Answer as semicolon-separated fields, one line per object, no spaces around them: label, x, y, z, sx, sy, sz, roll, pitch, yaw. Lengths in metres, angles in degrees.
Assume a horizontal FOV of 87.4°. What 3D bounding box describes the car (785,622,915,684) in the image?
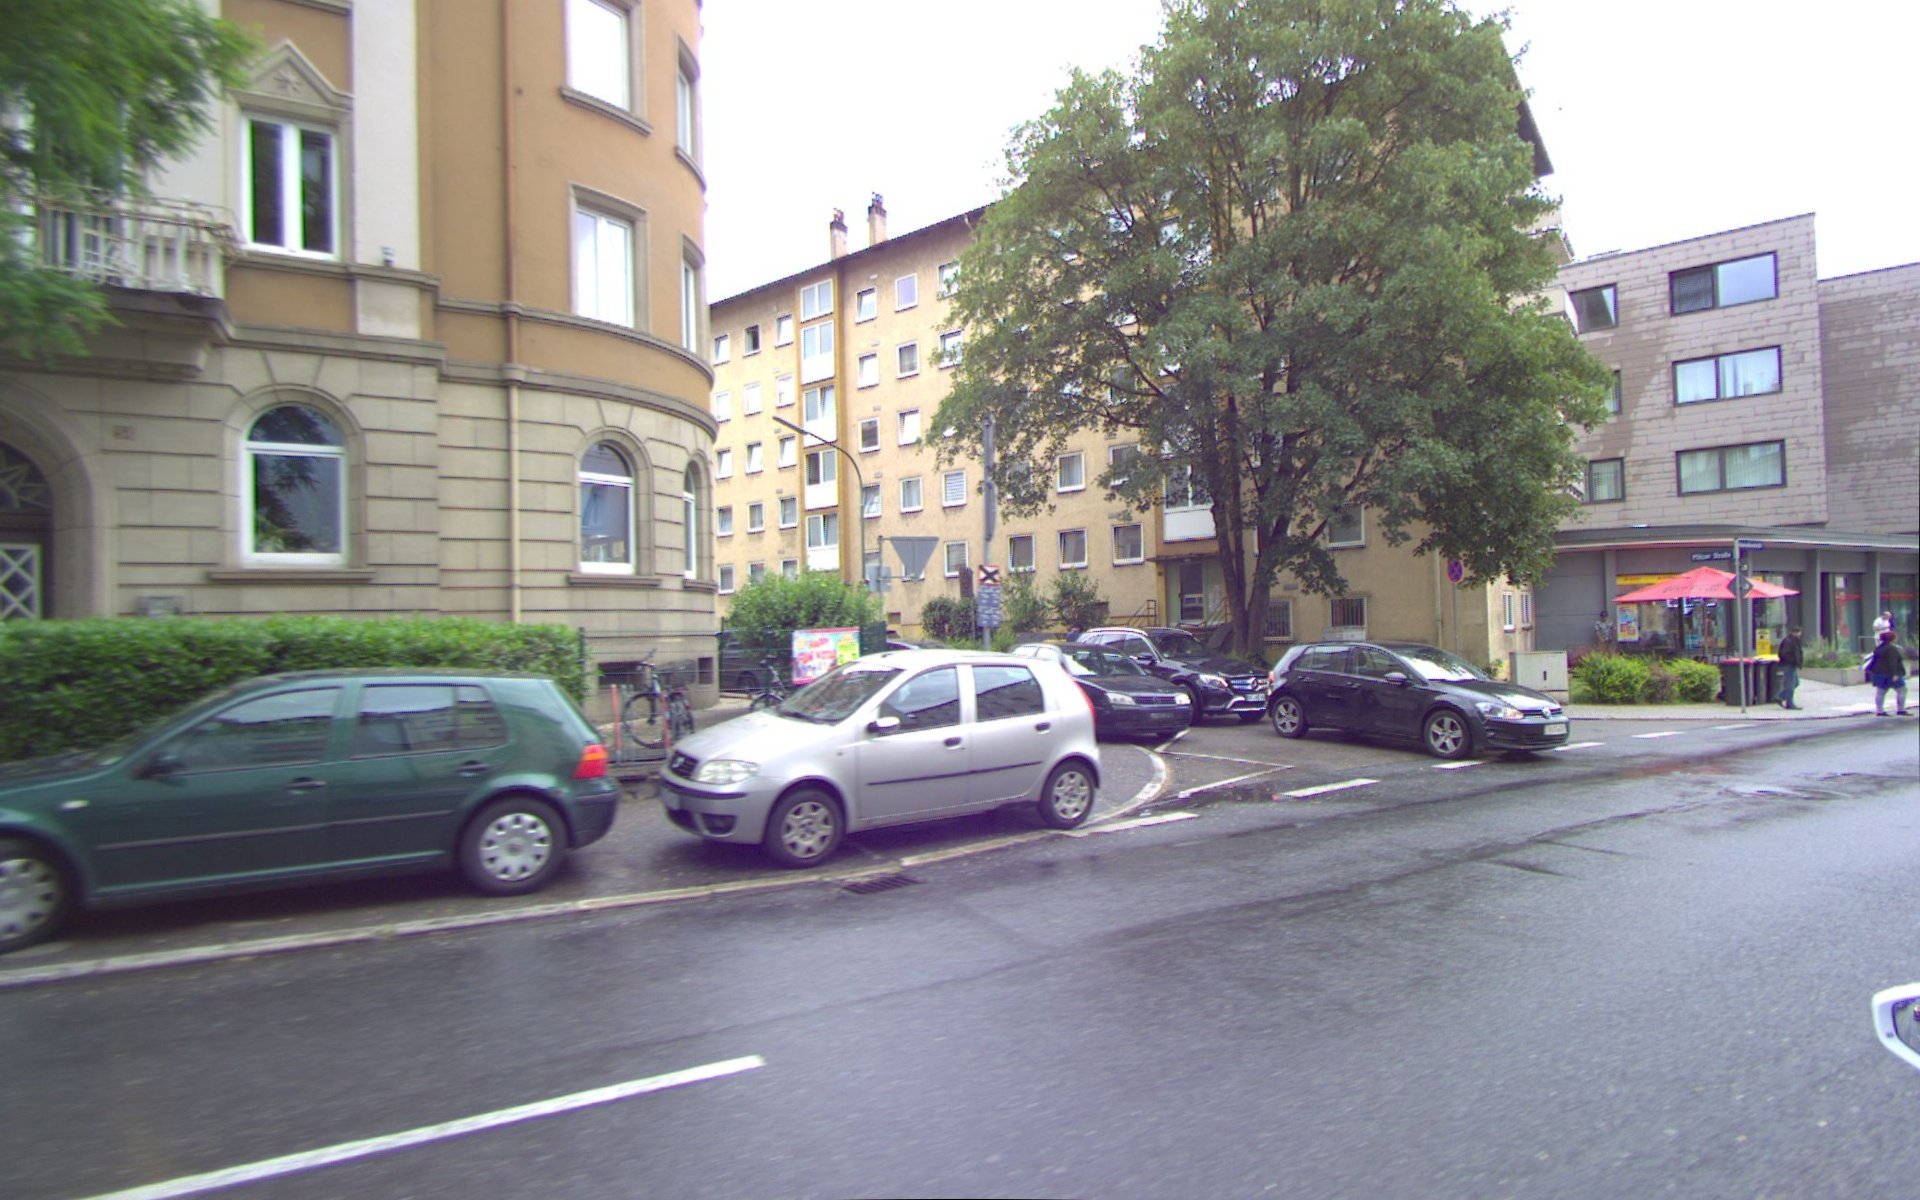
car;-3.304;1.535;30.043;3.545;1.528;1.685;2;2;30

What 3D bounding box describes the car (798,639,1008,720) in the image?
car;-1.226;1.550;20.558;4.165;1.439;1.705;-1;-2;36

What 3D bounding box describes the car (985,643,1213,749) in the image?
car;2.043;1.400;15.834;1.720;1.408;3.803;-1;-2;-26

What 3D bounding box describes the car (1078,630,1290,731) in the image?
car;3.977;1.374;18.402;1.673;1.603;3.793;-1;-1;-29

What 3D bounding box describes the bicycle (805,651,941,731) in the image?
bicycle;-1.199;1.228;13.770;1.673;1.024;0.806;-2;-2;27

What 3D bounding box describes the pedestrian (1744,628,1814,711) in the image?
pedestrian;17.889;1.484;21.949;0.708;1.754;1.054;0;-1;-39

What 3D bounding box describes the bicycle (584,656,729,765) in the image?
bicycle;-3.456;1.174;11.277;0.799;1.060;2.325;1;-3;-37

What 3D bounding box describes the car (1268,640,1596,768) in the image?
car;6.308;1.318;13.841;1.722;1.408;3.798;2;-2;-30

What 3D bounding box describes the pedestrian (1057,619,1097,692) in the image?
pedestrian;2.868;1.346;24.663;0.618;1.705;0.814;2;3;41

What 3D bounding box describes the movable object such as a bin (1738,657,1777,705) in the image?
movable object such as a bin;18.557;1.885;23.371;0.599;1.095;0.488;2;-3;-29

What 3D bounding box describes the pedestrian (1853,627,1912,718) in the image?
pedestrian;18.138;1.417;19.759;0.731;1.731;0.677;-4;-4;40

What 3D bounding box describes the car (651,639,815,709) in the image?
car;-5.361;1.672;23.597;3.776;1.459;1.705;-1;-2;36

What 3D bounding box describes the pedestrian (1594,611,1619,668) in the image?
pedestrian;21.152;1.280;32.856;0.624;1.840;0.637;-2;-2;30

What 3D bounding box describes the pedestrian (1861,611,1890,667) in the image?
pedestrian;28.735;1.213;31.533;0.651;1.728;0.658;-1;-2;43

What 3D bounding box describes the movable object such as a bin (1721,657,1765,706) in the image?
movable object such as a bin;17.965;1.860;23.051;0.722;1.095;0.551;2;-3;-29

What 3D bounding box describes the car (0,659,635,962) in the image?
car;-4.267;1.149;6.441;3.898;1.473;1.645;1;-2;-31

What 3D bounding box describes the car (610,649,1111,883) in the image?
car;-0.722;1.157;8.258;3.799;1.473;1.622;1;-2;-33

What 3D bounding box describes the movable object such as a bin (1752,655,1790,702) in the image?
movable object such as a bin;19.119;1.851;23.679;0.599;1.095;0.488;2;-3;-29
